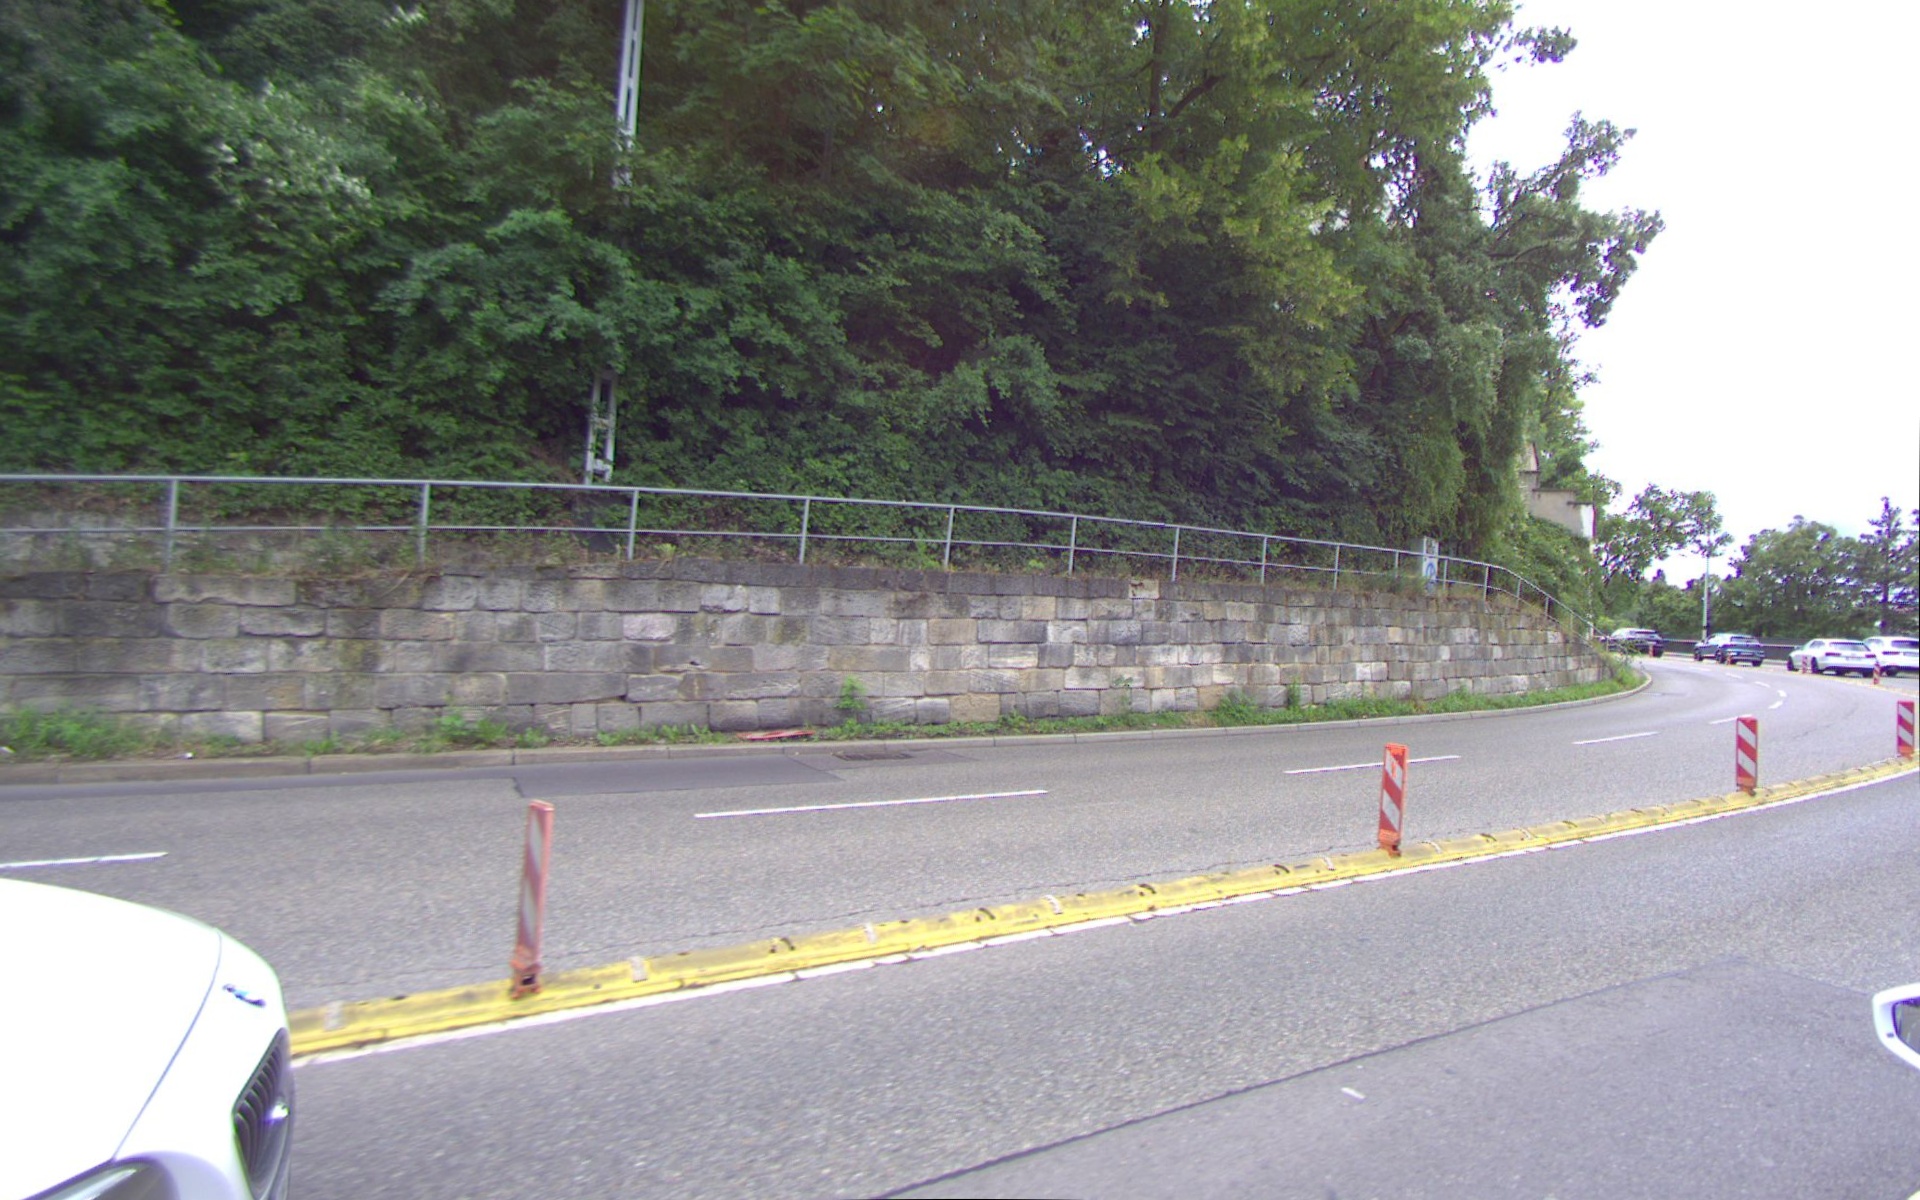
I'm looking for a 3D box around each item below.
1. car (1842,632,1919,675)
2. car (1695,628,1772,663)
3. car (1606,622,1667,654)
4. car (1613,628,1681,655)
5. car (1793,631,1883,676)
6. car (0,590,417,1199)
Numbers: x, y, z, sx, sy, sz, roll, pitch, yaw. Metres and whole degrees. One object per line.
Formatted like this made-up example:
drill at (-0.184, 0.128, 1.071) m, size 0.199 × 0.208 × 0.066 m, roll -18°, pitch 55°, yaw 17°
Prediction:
car at (39.166, 2.216, 42.286) m, size 1.963 × 1.607 × 3.996 m, roll 4°, pitch 0°, yaw 26°
car at (39.712, 2.314, 51.668) m, size 1.961 × 1.561 × 4.010 m, roll 4°, pitch 0°, yaw 21°
car at (41.882, 2.311, 62.284) m, size 1.785 × 1.712 × 4.002 m, roll 4°, pitch 0°, yaw 15°
car at (45.730, 2.742, 66.938) m, size 1.671 × 1.545 × 3.526 m, roll 4°, pitch 1°, yaw -13°
car at (35.504, 2.135, 40.746) m, size 1.878 × 1.595 × 3.993 m, roll 4°, pitch 1°, yaw 30°
car at (-3.153, 0.669, 0.619) m, size 4.825 × 1.486 × 1.838 m, roll 4°, pitch 1°, yaw -32°
